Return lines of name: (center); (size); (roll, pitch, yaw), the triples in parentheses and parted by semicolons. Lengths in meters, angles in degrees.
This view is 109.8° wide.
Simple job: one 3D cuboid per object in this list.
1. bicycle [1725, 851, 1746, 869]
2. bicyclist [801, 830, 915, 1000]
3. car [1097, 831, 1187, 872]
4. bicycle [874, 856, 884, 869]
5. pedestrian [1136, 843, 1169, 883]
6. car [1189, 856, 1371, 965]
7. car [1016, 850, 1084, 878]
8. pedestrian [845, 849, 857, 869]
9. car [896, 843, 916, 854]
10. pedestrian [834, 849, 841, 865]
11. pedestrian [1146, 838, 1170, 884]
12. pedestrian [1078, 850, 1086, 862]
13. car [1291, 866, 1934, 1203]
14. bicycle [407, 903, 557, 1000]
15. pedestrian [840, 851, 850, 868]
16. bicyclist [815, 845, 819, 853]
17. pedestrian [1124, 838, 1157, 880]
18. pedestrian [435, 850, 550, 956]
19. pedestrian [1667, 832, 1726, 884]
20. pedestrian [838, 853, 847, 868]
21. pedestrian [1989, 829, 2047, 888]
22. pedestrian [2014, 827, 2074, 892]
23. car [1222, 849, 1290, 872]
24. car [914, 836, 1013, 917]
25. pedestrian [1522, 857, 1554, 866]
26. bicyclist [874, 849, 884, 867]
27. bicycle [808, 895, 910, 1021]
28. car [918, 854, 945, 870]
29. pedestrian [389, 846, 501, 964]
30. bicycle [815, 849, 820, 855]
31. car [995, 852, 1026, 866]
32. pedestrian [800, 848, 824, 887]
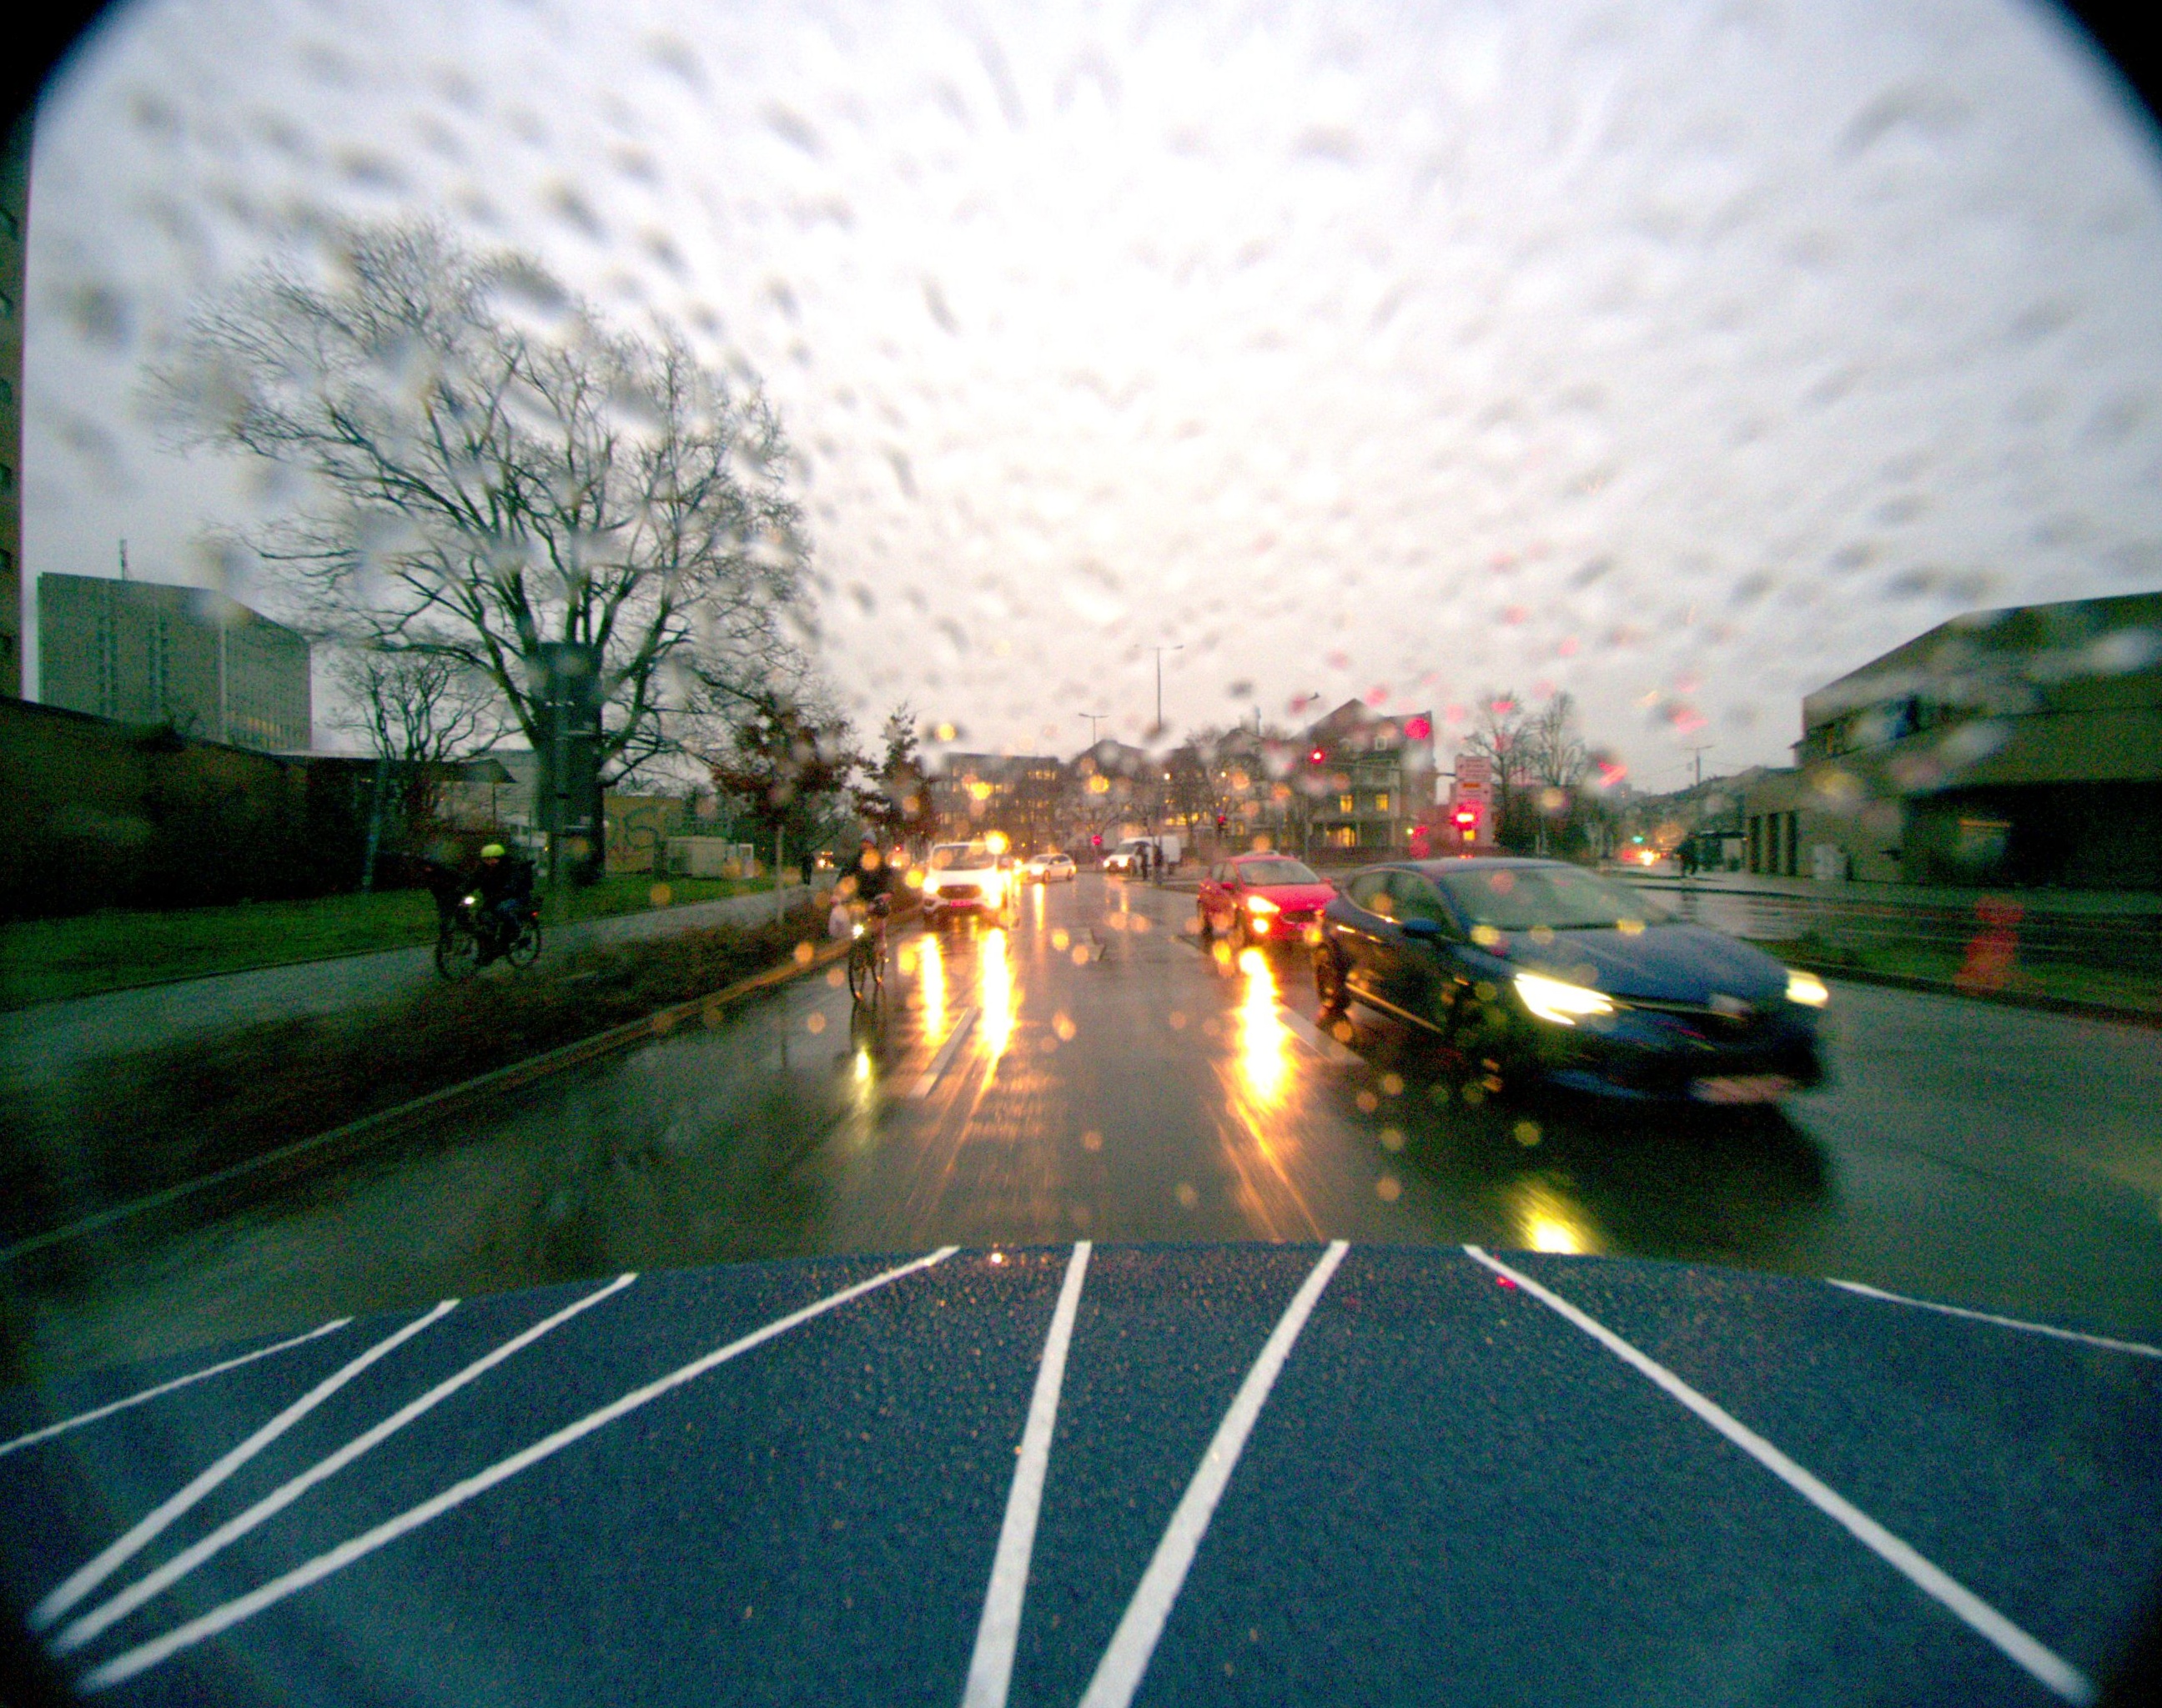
bicycle: (42.281, 0.424, 49.079); (0.645, 1.098, 2.757); (-2, -2, 33)
bicyclist: (-2.631, 0.676, 9.146); (1.027, 1.872, 1.235); (-2, 1, -5)
car: (4.070, -0.126, 49.987); (5.880, 2.502, 2.342); (0, -2, -40)
bicycle: (-18.202, 0.749, 68.425); (0.807, 1.135, 2.210); (2, 0, -16)
pedestrian: (3.401, 0.429, 36.136); (1.037, 1.846, 1.068); (0, -2, -37)
car: (3.211, 0.835, 13.070); (1.706, 1.473, 3.869); (-3, 0, -6)
car: (-1.702, 0.579, 43.308); (1.751, 1.495, 4.327); (-2, -2, 32)
pedestrian: (-20.849, 0.418, 68.930); (0.934, 1.815, 0.832); (0, 1, -22)
car: (-24.204, -0.756, 105.049); (2.002, 1.558, 4.752); (1, 0, -22)
pedestrian: (-30.863, 0.333, 96.453); (0.767, 2.002, 0.908); (-1, 1, -23)
pedestrian: (3.390, 0.322, 33.569); (0.848, 1.993, 1.109); (-1, -2, -5)
pedestrian: (0.111, 0.280, 109.728); (0.810, 1.820, 0.945); (0, 1, -25)
car: (3.091, 0.872, 5.619); (1.663, 1.396, 4.118); (-3, 1, -3)
bicycle: (-7.585, 1.185, 9.759); (0.563, 0.941, 2.093); (0, 1, -10)
pedestrian: (-25.834, 0.589, 83.147); (0.934, 1.815, 0.832); (0, 1, -22)
bicyclist: (-48.955, -0.957, 140.950); (0.768, 1.481, 0.992); (-1, 1, -21)
pedestrian: (2.946, 0.249, 37.762); (1.217, 2.037, 1.033); (0, -2, -41)
pedestrian: (-7.603, 0.604, 9.867); (0.877, 1.309, 0.847); (0, 1, -11)
pedestrian: (22.316, 0.163, 27.558); (1.234, 1.846, 1.035); (-1, -2, -5)
pedestrian: (-27.802, 0.750, 88.473); (0.934, 1.815, 0.832); (0, 1, -22)
pedestrian: (27.492, 0.133, 22.303); (0.741, 1.716, 0.744); (0, 1, 8)
pedestrian: (26.800, 0.142, 21.151); (0.662, 1.757, 0.832); (0, 1, -17)
car: (13.003, 0.473, 56.508); (4.823, 1.634, 1.835); (0, 1, -25)
car: (-2.998, 0.612, 20.507); (2.137, 1.909, 5.017); (-1, -2, -3)
pedestrian: (52.316, 0.830, 87.017); (3.091, 0.924, 0.951); (-3, -2, 35)
bicyclist: (-18.225, 0.327, 68.534); (0.807, 1.608, 1.084); (2, 0, -17)
bicycle: (-2.609, 1.174, 9.162); (0.794, 1.215, 1.903); (-2, 1, -6)
car: (-14.646, 0.789, 74.124); (1.776, 1.478, 4.462); (0, 1, -22)
pedestrian: (-9.543, 0.732, 11.446); (0.810, 1.678, 1.070); (1, 1, -5)
bicycle: (-48.958, -0.384, 140.969); (0.795, 1.010, 2.897); (0, 1, -21)
car: (-7.172, 0.457, 76.660); (1.934, 1.368, 4.489); (0, 1, -22)
pedestrian: (-12.050, 0.617, 34.027); (0.913, 1.677, 0.926); (1, -1, -16)
